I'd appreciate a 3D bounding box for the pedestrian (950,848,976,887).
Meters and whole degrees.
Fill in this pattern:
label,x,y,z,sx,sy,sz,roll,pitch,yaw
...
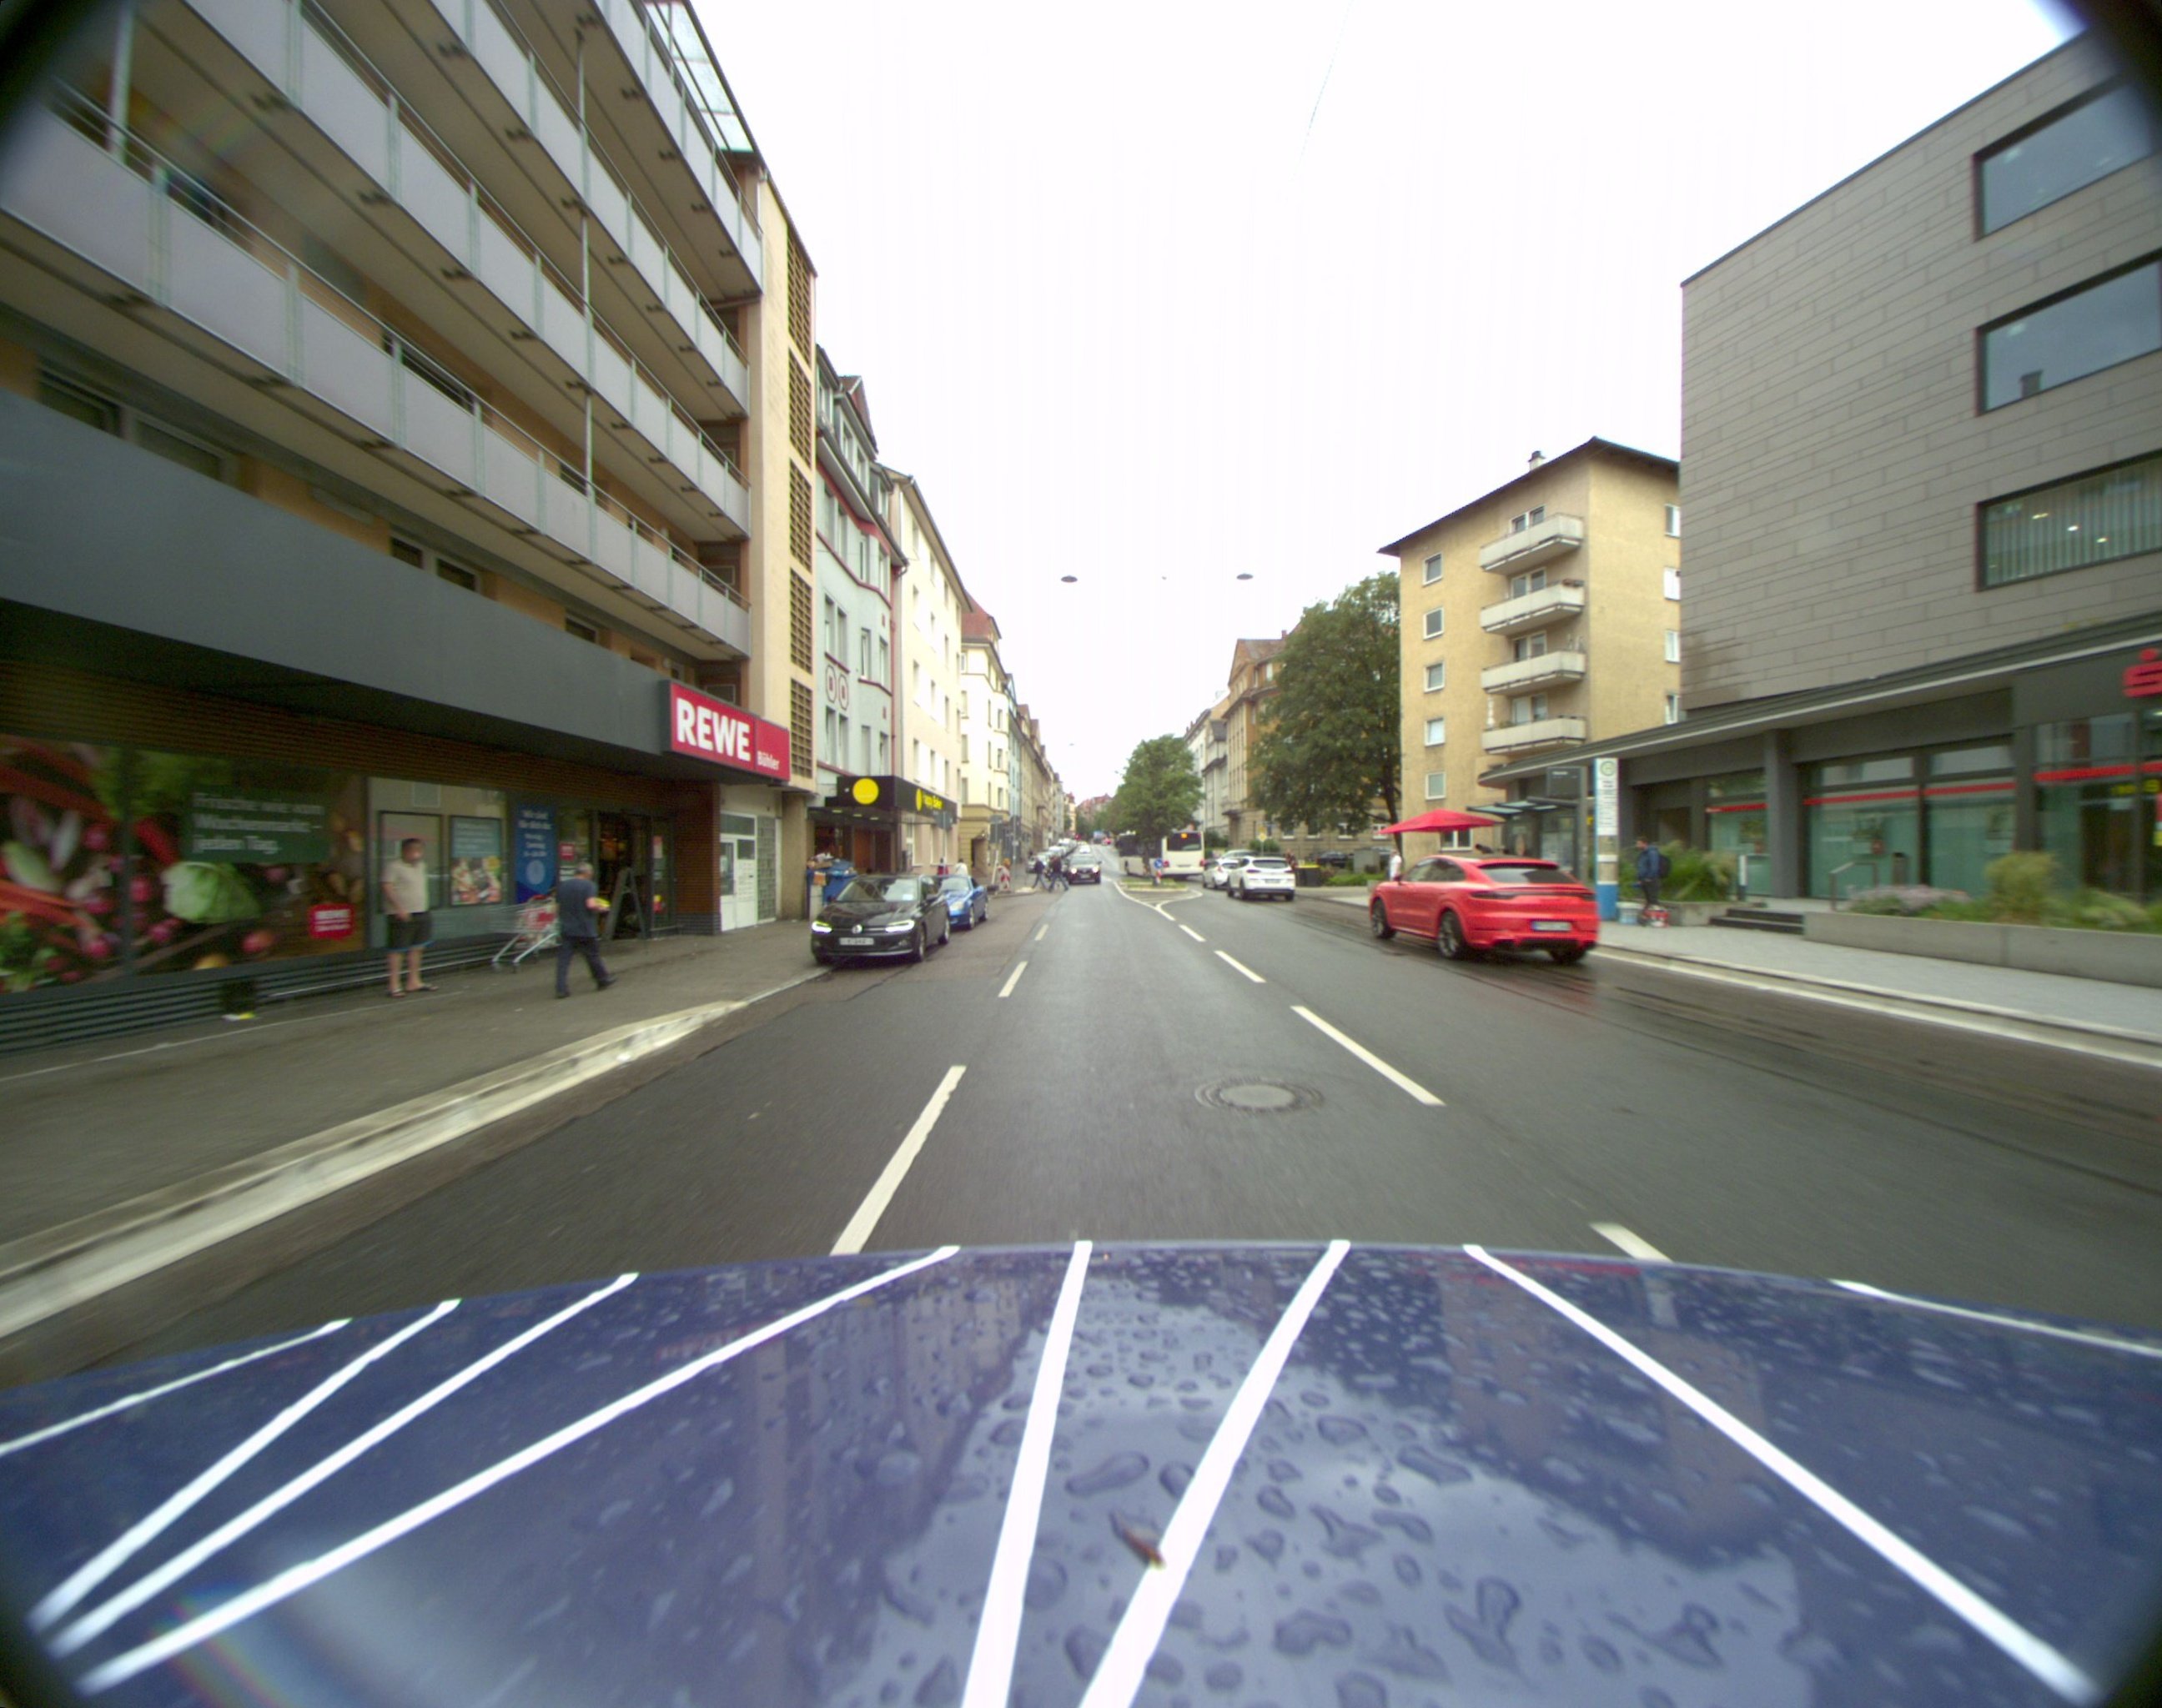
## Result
label,x,y,z,sx,sy,sz,roll,pitch,yaw
pedestrian,-5.006,0.560,32.328,0.701,1.637,0.784,2,1,35

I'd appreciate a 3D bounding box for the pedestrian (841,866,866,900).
label,x,y,z,sx,sy,sz,roll,pitch,yaw
pedestrian,-8.568,1.079,28.624,0.703,1.250,0.658,2,1,0

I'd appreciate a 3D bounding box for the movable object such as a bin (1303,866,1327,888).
label,x,y,z,sx,sy,sz,roll,pitch,yaw
movable object such as a bin,11.464,1.116,37.206,0.743,1.052,0.811,-2,1,-25

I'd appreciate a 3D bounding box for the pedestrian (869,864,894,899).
label,x,y,z,sx,sy,sz,roll,pitch,yaw
pedestrian,-7.390,1.018,28.172,0.703,1.250,0.658,2,1,0

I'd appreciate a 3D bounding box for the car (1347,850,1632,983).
label,x,y,z,sx,sy,sz,roll,pitch,yaw
car,6.496,0.842,12.970,2.111,1.754,5.059,1,1,0

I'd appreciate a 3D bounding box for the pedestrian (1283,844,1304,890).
label,x,y,z,sx,sy,sz,roll,pitch,yaw
pedestrian,9.543,0.582,34.135,0.703,2.002,0.782,-1,1,-3

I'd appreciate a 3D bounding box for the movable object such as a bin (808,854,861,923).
label,x,y,z,sx,sy,sz,roll,pitch,yaw
movable object such as a bin,-6.595,0.898,20.379,1.002,1.783,1.296,0,1,-1

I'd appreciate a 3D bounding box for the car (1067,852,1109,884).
label,x,y,z,sx,sy,sz,roll,pitch,yaw
car,0.326,0.735,42.952,1.857,1.646,4.202,-2,1,-6

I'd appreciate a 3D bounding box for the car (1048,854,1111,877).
label,x,y,z,sx,sy,sz,roll,pitch,yaw
car,-0.151,0.728,49.844,3.998,1.412,1.811,-1,0,-3

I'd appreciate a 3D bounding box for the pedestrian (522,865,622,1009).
label,x,y,z,sx,sy,sz,roll,pitch,yaw
pedestrian,-6.060,0.967,9.082,0.627,1.641,0.749,0,-2,3

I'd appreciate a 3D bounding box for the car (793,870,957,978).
label,x,y,z,sx,sy,sz,roll,pitch,yaw
car,-3.425,1.094,13.420,1.734,1.538,3.982,-1,0,1

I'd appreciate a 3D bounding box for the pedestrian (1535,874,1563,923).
label,x,y,z,sx,sy,sz,roll,pitch,yaw
pedestrian,10.855,1.026,17.630,0.392,1.110,0.386,-1,1,0

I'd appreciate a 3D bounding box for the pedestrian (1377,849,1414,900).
label,x,y,z,sx,sy,sz,roll,pitch,yaw
pedestrian,10.838,0.711,26.191,0.793,1.699,0.761,-3,1,-25

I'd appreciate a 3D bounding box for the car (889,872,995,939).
label,x,y,z,sx,sy,sz,roll,pitch,yaw
car,-3.350,1.213,18.976,1.738,1.302,3.767,-3,0,2

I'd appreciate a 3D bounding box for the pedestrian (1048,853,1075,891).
label,x,y,z,sx,sy,sz,roll,pitch,yaw
pedestrian,-0.896,0.821,35.766,1.062,1.738,0.855,1,1,14

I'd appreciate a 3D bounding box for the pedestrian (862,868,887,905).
label,x,y,z,sx,sy,sz,roll,pitch,yaw
pedestrian,-7.325,1.137,26.969,0.624,1.250,0.659,2,1,8

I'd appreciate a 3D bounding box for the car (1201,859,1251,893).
label,x,y,z,sx,sy,sz,roll,pitch,yaw
car,6.908,1.008,36.450,1.619,1.455,3.806,2,1,0

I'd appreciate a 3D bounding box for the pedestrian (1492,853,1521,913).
label,x,y,z,sx,sy,sz,roll,pitch,yaw
pedestrian,11.037,0.743,19.713,0.438,1.540,0.533,-1,1,-1

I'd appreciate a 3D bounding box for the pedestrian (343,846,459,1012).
label,x,y,z,sx,sy,sz,roll,pitch,yaw
pedestrian,-7.901,0.839,8.860,0.597,1.848,0.727,-1,1,4

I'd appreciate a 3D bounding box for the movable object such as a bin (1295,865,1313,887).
label,x,y,z,sx,sy,sz,roll,pitch,yaw
movable object such as a bin,11.128,1.086,37.975,0.742,1.052,0.579,-1,1,4

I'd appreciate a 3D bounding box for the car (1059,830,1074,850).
label,x,y,z,sx,sy,sz,roll,pitch,yaw
car,-2.620,-2.565,140.359,2.554,3.613,9.048,-1,1,-1

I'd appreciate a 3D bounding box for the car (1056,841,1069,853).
label,x,y,z,sx,sy,sz,roll,pitch,yaw
car,-2.826,-1.067,116.329,1.999,1.871,3.999,-1,1,-1

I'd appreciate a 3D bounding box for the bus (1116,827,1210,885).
label,x,y,z,sx,sy,sz,roll,pitch,yaw
bus,5.110,-0.033,50.563,2.815,3.228,11.947,3,1,-10

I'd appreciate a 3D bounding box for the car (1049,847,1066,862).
label,x,y,z,sx,sy,sz,roll,pitch,yaw
car,-2.459,0.001,81.462,1.733,1.486,3.550,-2,1,-1

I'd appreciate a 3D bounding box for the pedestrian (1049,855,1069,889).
label,x,y,z,sx,sy,sz,roll,pitch,yaw
pedestrian,-1.114,0.886,38.282,0.791,1.656,0.699,1,1,15

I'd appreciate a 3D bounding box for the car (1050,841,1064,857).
label,x,y,z,sx,sy,sz,roll,pitch,yaw
car,-3.067,-0.664,98.106,1.733,1.887,3.550,-2,1,-1

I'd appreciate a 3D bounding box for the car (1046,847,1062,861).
label,x,y,z,sx,sy,sz,roll,pitch,yaw
car,-3.128,0.009,87.672,1.733,1.486,3.550,-2,1,-1

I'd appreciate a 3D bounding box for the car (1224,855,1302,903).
label,x,y,z,sx,sy,sz,roll,pitch,yaw
car,6.709,0.874,28.420,1.900,1.564,4.124,1,1,0

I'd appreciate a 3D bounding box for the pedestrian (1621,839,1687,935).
label,x,y,z,sx,sy,sz,roll,pitch,yaw
pedestrian,11.191,0.631,14.855,0.591,1.809,0.870,-1,1,-8

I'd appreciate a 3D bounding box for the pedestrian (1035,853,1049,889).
label,x,y,z,sx,sy,sz,roll,pitch,yaw
pedestrian,-1.922,0.850,37.644,0.611,1.738,0.698,1,1,1

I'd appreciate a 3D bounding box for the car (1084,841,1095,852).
label,x,y,z,sx,sy,sz,roll,pitch,yaw
car,1.413,-1.319,127.492,1.796,1.768,3.902,-1,1,-1

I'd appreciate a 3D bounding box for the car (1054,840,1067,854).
label,x,y,z,sx,sy,sz,roll,pitch,yaw
car,-2.751,-0.932,104.440,1.719,1.871,3.907,-1,1,-1

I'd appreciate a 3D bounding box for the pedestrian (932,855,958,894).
label,x,y,z,sx,sy,sz,roll,pitch,yaw
pedestrian,-5.843,0.863,32.609,0.701,1.637,0.784,2,1,35

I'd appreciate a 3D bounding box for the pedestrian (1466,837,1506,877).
label,x,y,z,sx,sy,sz,roll,pitch,yaw
pedestrian,17.079,0.134,32.072,1.153,1.602,0.940,-3,1,-25

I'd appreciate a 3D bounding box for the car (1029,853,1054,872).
label,x,y,z,sx,sy,sz,roll,pitch,yaw
car,-3.316,0.710,64.406,1.856,1.456,4.203,-2,1,-1
